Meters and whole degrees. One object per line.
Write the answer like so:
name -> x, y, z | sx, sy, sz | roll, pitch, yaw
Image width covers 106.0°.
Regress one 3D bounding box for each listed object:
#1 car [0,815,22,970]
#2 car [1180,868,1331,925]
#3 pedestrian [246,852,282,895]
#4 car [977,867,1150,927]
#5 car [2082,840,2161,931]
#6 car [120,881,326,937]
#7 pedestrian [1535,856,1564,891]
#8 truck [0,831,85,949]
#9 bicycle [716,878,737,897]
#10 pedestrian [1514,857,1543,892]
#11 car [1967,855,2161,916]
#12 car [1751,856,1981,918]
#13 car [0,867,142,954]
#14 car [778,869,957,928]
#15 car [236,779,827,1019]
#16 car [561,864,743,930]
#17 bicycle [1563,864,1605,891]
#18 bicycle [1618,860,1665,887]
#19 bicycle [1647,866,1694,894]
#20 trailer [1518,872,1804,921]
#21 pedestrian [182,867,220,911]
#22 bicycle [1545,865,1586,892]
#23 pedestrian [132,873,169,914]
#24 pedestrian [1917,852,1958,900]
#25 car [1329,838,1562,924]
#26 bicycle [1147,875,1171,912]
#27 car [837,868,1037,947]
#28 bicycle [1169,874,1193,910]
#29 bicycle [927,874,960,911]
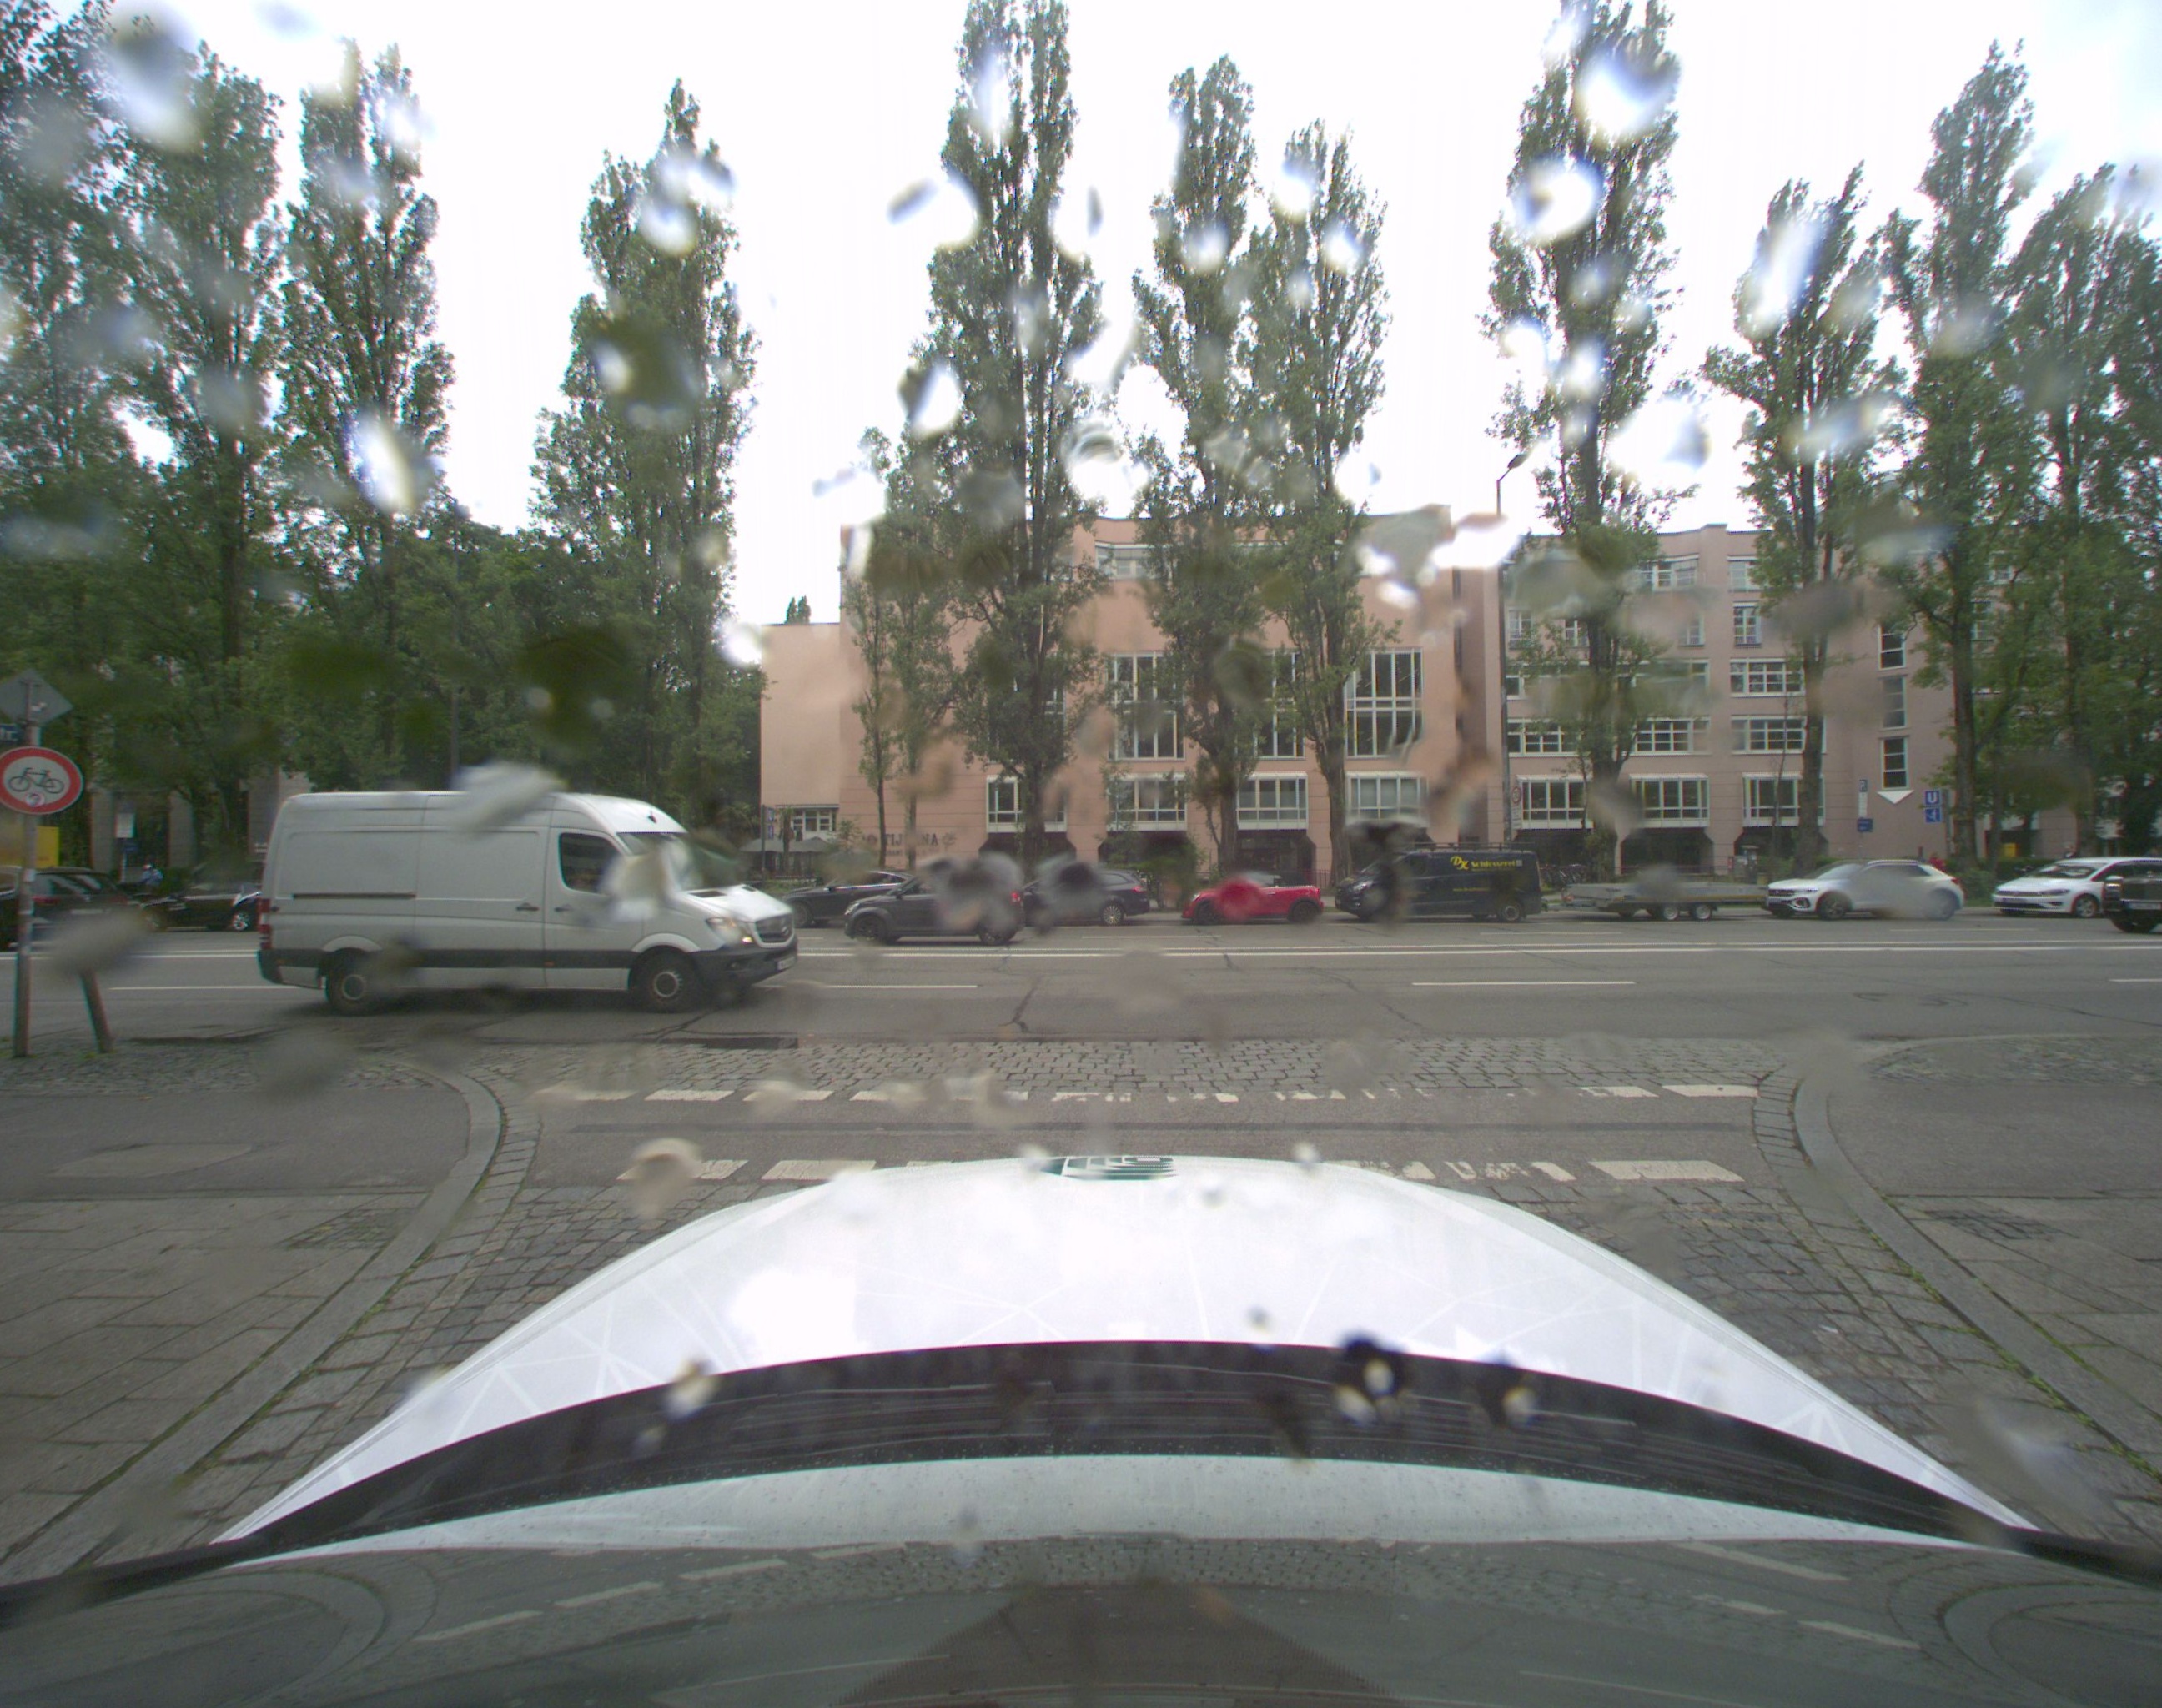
car -> -20.812, 0.667, 12.693 | 5.891, 2.556, 2.083 | -1, 1, 1
car -> 4.654, 1.130, 22.201 | 3.843, 1.449, 1.680 | 0, -1, 4
pedestrian -> -33.142, 0.776, 33.033 | 0.726, 1.714, 0.710 | 0, -1, 3
car -> -0.425, 1.155, 22.516 | 4.590, 1.529, 1.794 | 0, -1, 2
car -> 23.300, 0.592, 15.857 | 5.029, 1.749, 2.000 | -1, -3, 1
car -> -23.987, 1.500, 22.875 | 3.854, 1.412, 1.794 | 1, -1, 2
pedestrian -> 18.587, 0.780, 32.315 | 0.726, 1.369, 0.710 | 0, -1, 3
truck -> -30.263, 0.914, 20.623 | 7.028, 2.908, 2.603 | 0, -1, 2
bicycle -> -15.209, 1.434, 34.961 | 0.322, 0.798, 1.031 | 0, -1, 8
pedestrian -> 17.787, 0.824, 32.357 | 0.711, 1.369, 0.725 | 0, -1, -27
car -> 26.977, 0.809, 21.905 | 4.301, 1.542, 1.998 | 0, -1, -4
car -> 20.740, 0.867, 21.666 | 4.202, 1.542, 1.808 | -1, -2, 4
car -> -23.271, 1.148, 17.116 | 4.780, 1.722, 2.001 | 0, -2, 2
car -> -5.859, 1.223, 22.716 | 4.482, 1.529, 1.794 | 0, -1, 2
car -> -6.550, 0.502, 10.230 | 5.999, 2.651, 2.048 | -1, 1, 1
car -> -11.802, 1.171, 22.601 | 4.051, 1.732, 1.793 | 0, -2, 0
bicycle -> 21.912, 1.020, 35.517 | 0.671, 1.124, 1.991 | -1, 0, 3
bicycle -> 24.346, 0.848, 35.443 | 0.671, 1.124, 2.108 | -1, 0, 3
bicycle -> 25.430, 1.108, 35.183 | 0.671, 1.124, 1.990 | -1, 0, 3
trailer -> 15.504, 1.117, 22.083 | 5.994, 1.199, 2.406 | 0, 0, 2
pedestrian -> -34.990, 1.385, 32.390 | 0.726, 1.714, 0.710 | -1, -1, 3
bicycle -> 21.130, 1.033, 35.551 | 0.671, 1.124, 1.990 | -1, 0, 3
pedestrian -> -39.749, 1.674, 34.806 | 0.726, 1.714, 0.710 | 0, -1, 3
pedestrian -> 31.030, 0.785, 29.505 | 0.726, 1.714, 0.710 | 0, -1, 3
car -> 9.805, 0.721, 22.270 | 5.458, 2.197, 2.025 | 0, -1, 2
bicycle -> 2.550, 1.268, 26.726 | 0.671, 1.124, 1.743 | -1, 0, 3
car -> -2.864, 1.064, 16.824 | 3.725, 1.527, 1.850 | 0, -1, 2
bicycle -> 3.268, 1.227, 26.704 | 0.671, 1.124, 1.743 | -1, 0, 3
bicycle -> -4.527, 1.247, 26.915 | 0.671, 1.124, 1.990 | -1, 0, 3
